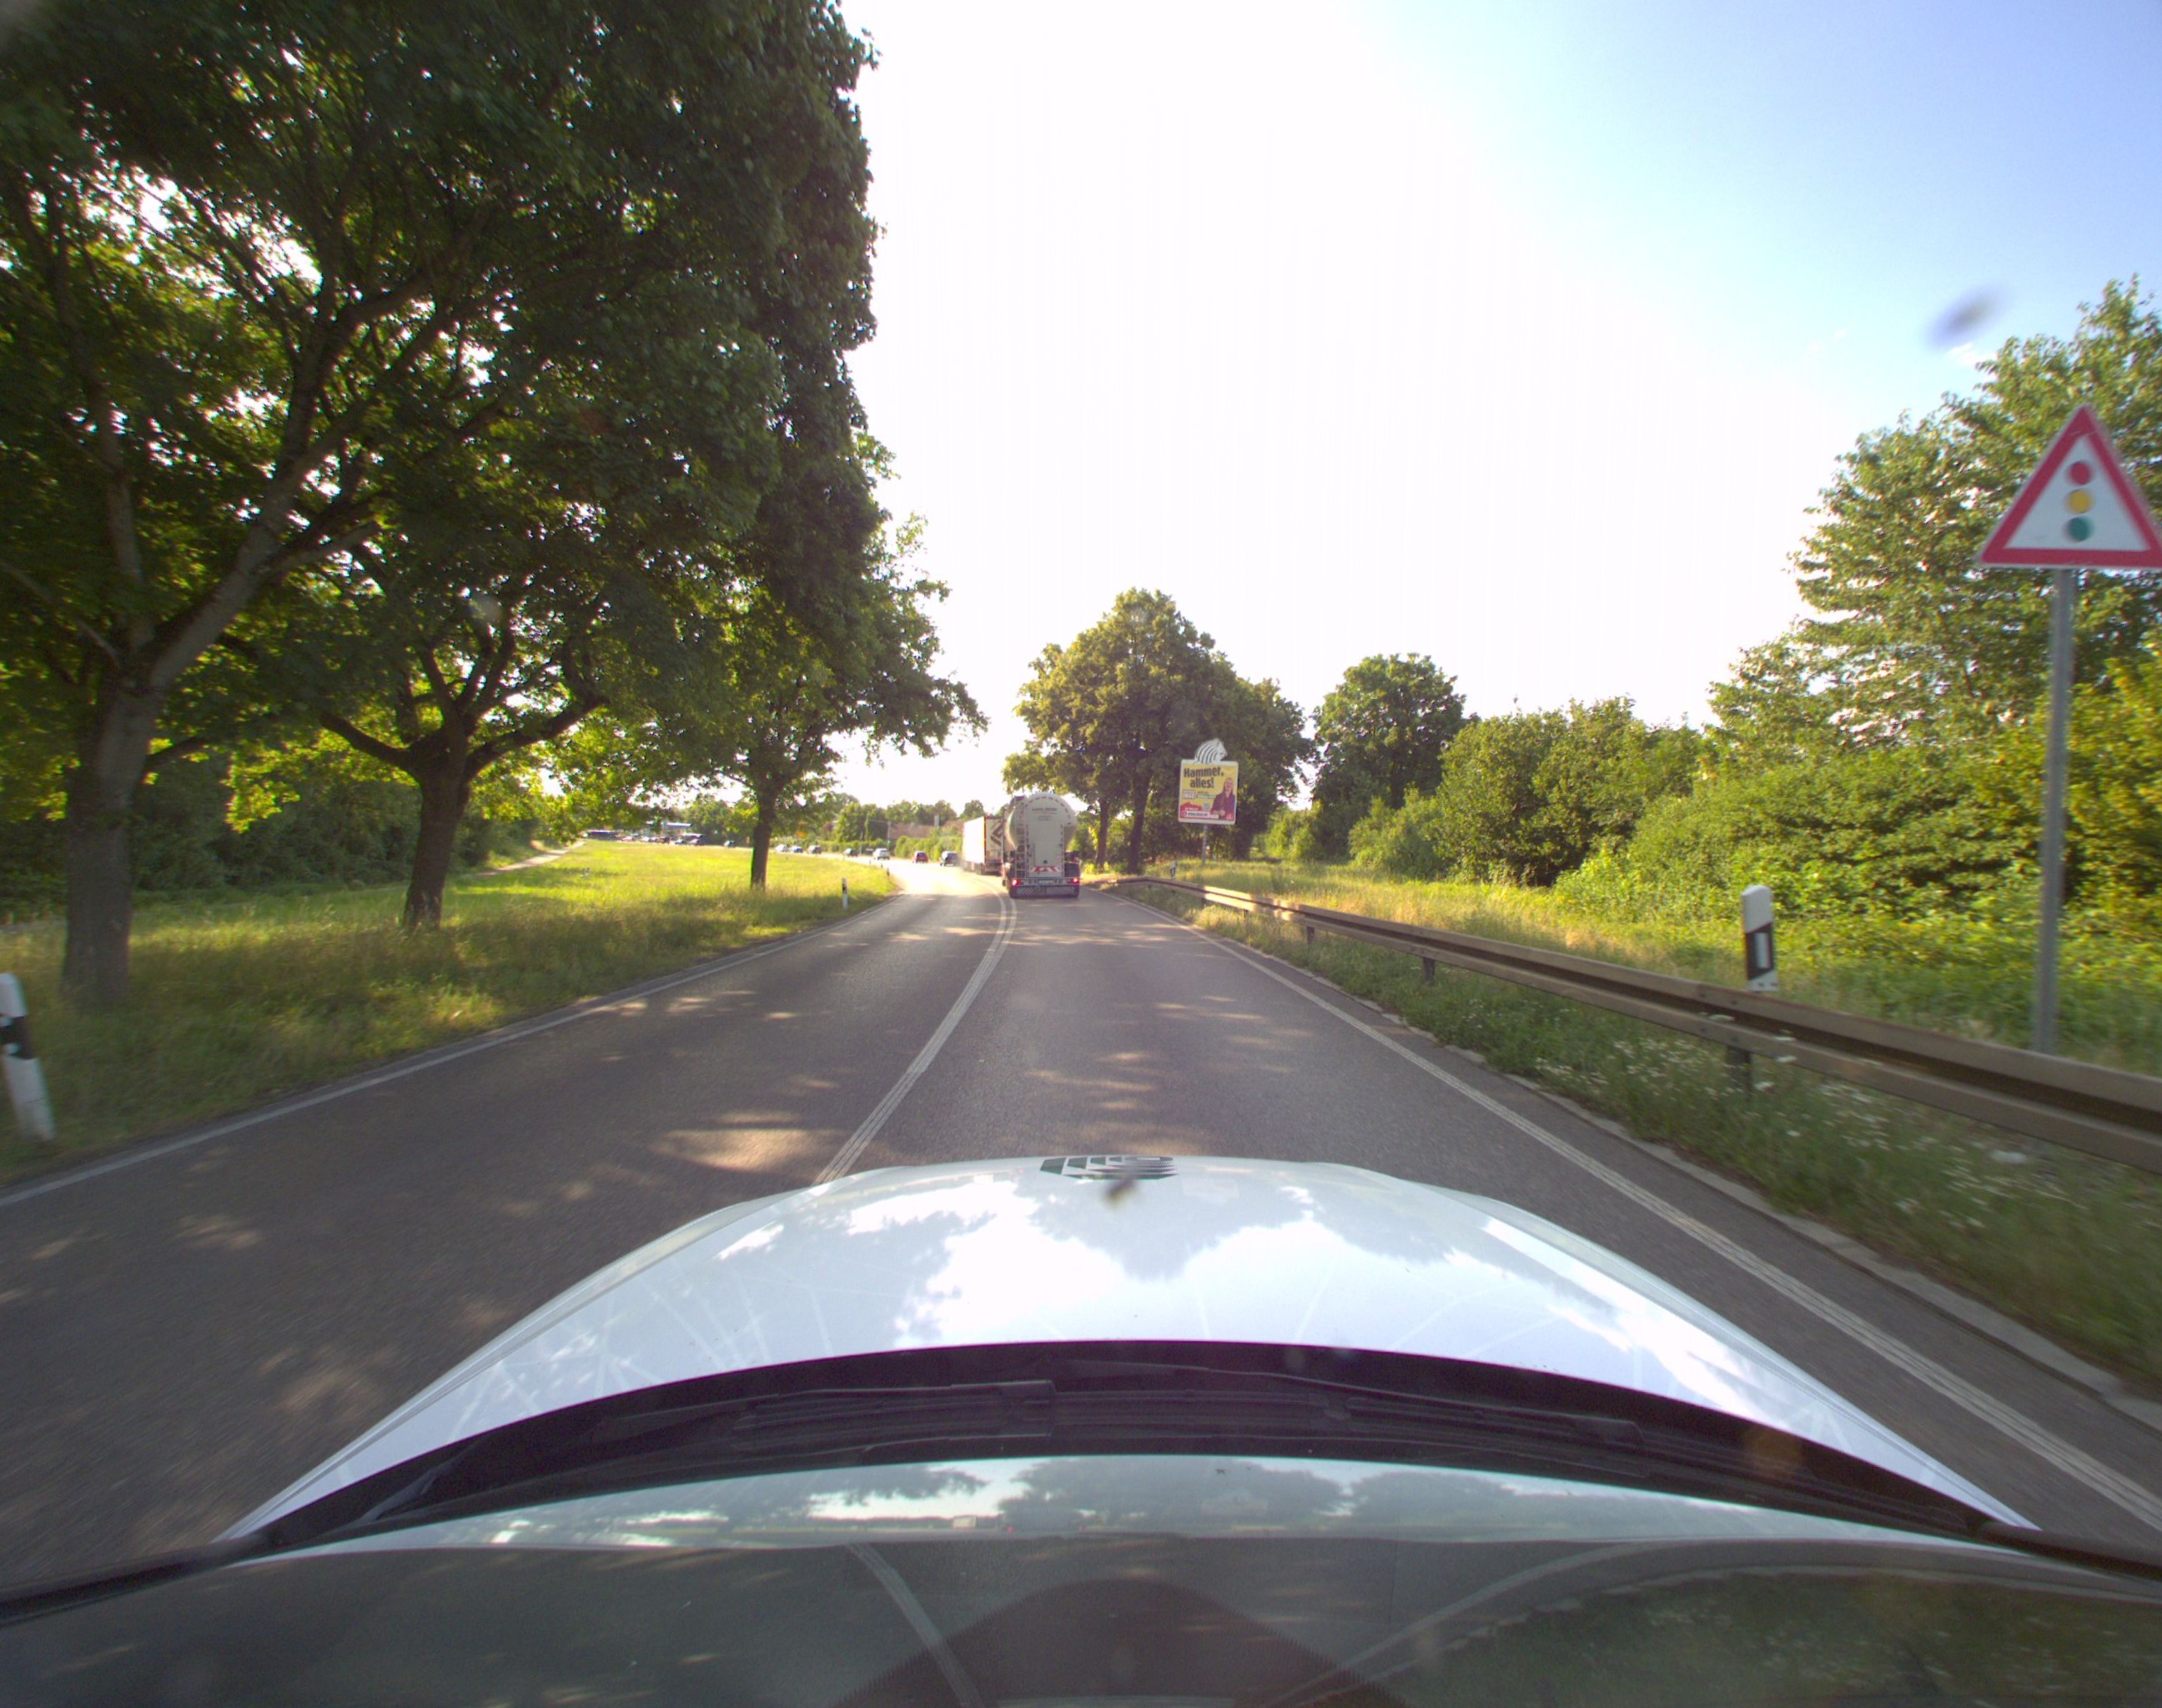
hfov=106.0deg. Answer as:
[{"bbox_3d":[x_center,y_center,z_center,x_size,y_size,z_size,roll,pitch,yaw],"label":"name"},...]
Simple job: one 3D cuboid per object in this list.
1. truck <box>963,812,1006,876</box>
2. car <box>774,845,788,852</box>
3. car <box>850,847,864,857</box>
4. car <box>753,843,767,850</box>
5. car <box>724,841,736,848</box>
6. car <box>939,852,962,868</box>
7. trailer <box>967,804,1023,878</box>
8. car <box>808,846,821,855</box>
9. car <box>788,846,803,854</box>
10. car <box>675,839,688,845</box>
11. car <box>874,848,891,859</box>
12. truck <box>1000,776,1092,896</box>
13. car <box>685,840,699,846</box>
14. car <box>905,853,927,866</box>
[{"bbox_3d":[-7.932,-0.745,66.242,2.965,4.886,6.403,0,-1,-12],"label":"truck"},{"bbox_3d":[-65.822,-1.224,178.560,1.692,1.559,3.828,1,-1,-39],"label":"car"},{"bbox_3d":[-39.242,-0.309,142.422,1.528,1.656,3.837,0,-1,-28],"label":"car"},{"bbox_3d":[-74.198,-1.698,188.397,1.992,1.656,3.828,1,-1,-39],"label":"car"},{"bbox_3d":[-87.948,-2.380,204.166,1.741,1.656,3.828,1,-1,-38],"label":"car"},{"bbox_3d":[-14.241,0.647,88.700,1.999,1.656,3.976,0,-1,-18],"label":"car"},{"bbox_3d":[-6.378,-0.825,59.012,2.966,4.882,10.245,0,-1,-12],"label":"trailer"},{"bbox_3d":[-53.205,-0.724,162.660,1.530,1.656,3.831,0,-1,-34],"label":"car"},{"bbox_3d":[-60.035,-0.799,171.113,1.692,1.559,3.828,1,-1,-39],"label":"car"},{"bbox_3d":[-108.402,-3.278,220.903,2.104,1.599,3.951,0,1,-44],"label":"car"},{"bbox_3d":[-30.749,-0.029,125.876,1.850,1.656,3.967,0,-1,-25],"label":"car"},{"bbox_3d":[-1.779,-0.563,34.309,2.973,4.175,11.633,0,-1,-7],"label":"truck"},{"bbox_3d":[-101.927,-2.946,213.518,2.104,1.599,3.951,0,1,-44],"label":"car"},{"bbox_3d":[-21.233,0.690,104.797,2.306,1.656,4.388,0,-1,-18],"label":"car"}]
